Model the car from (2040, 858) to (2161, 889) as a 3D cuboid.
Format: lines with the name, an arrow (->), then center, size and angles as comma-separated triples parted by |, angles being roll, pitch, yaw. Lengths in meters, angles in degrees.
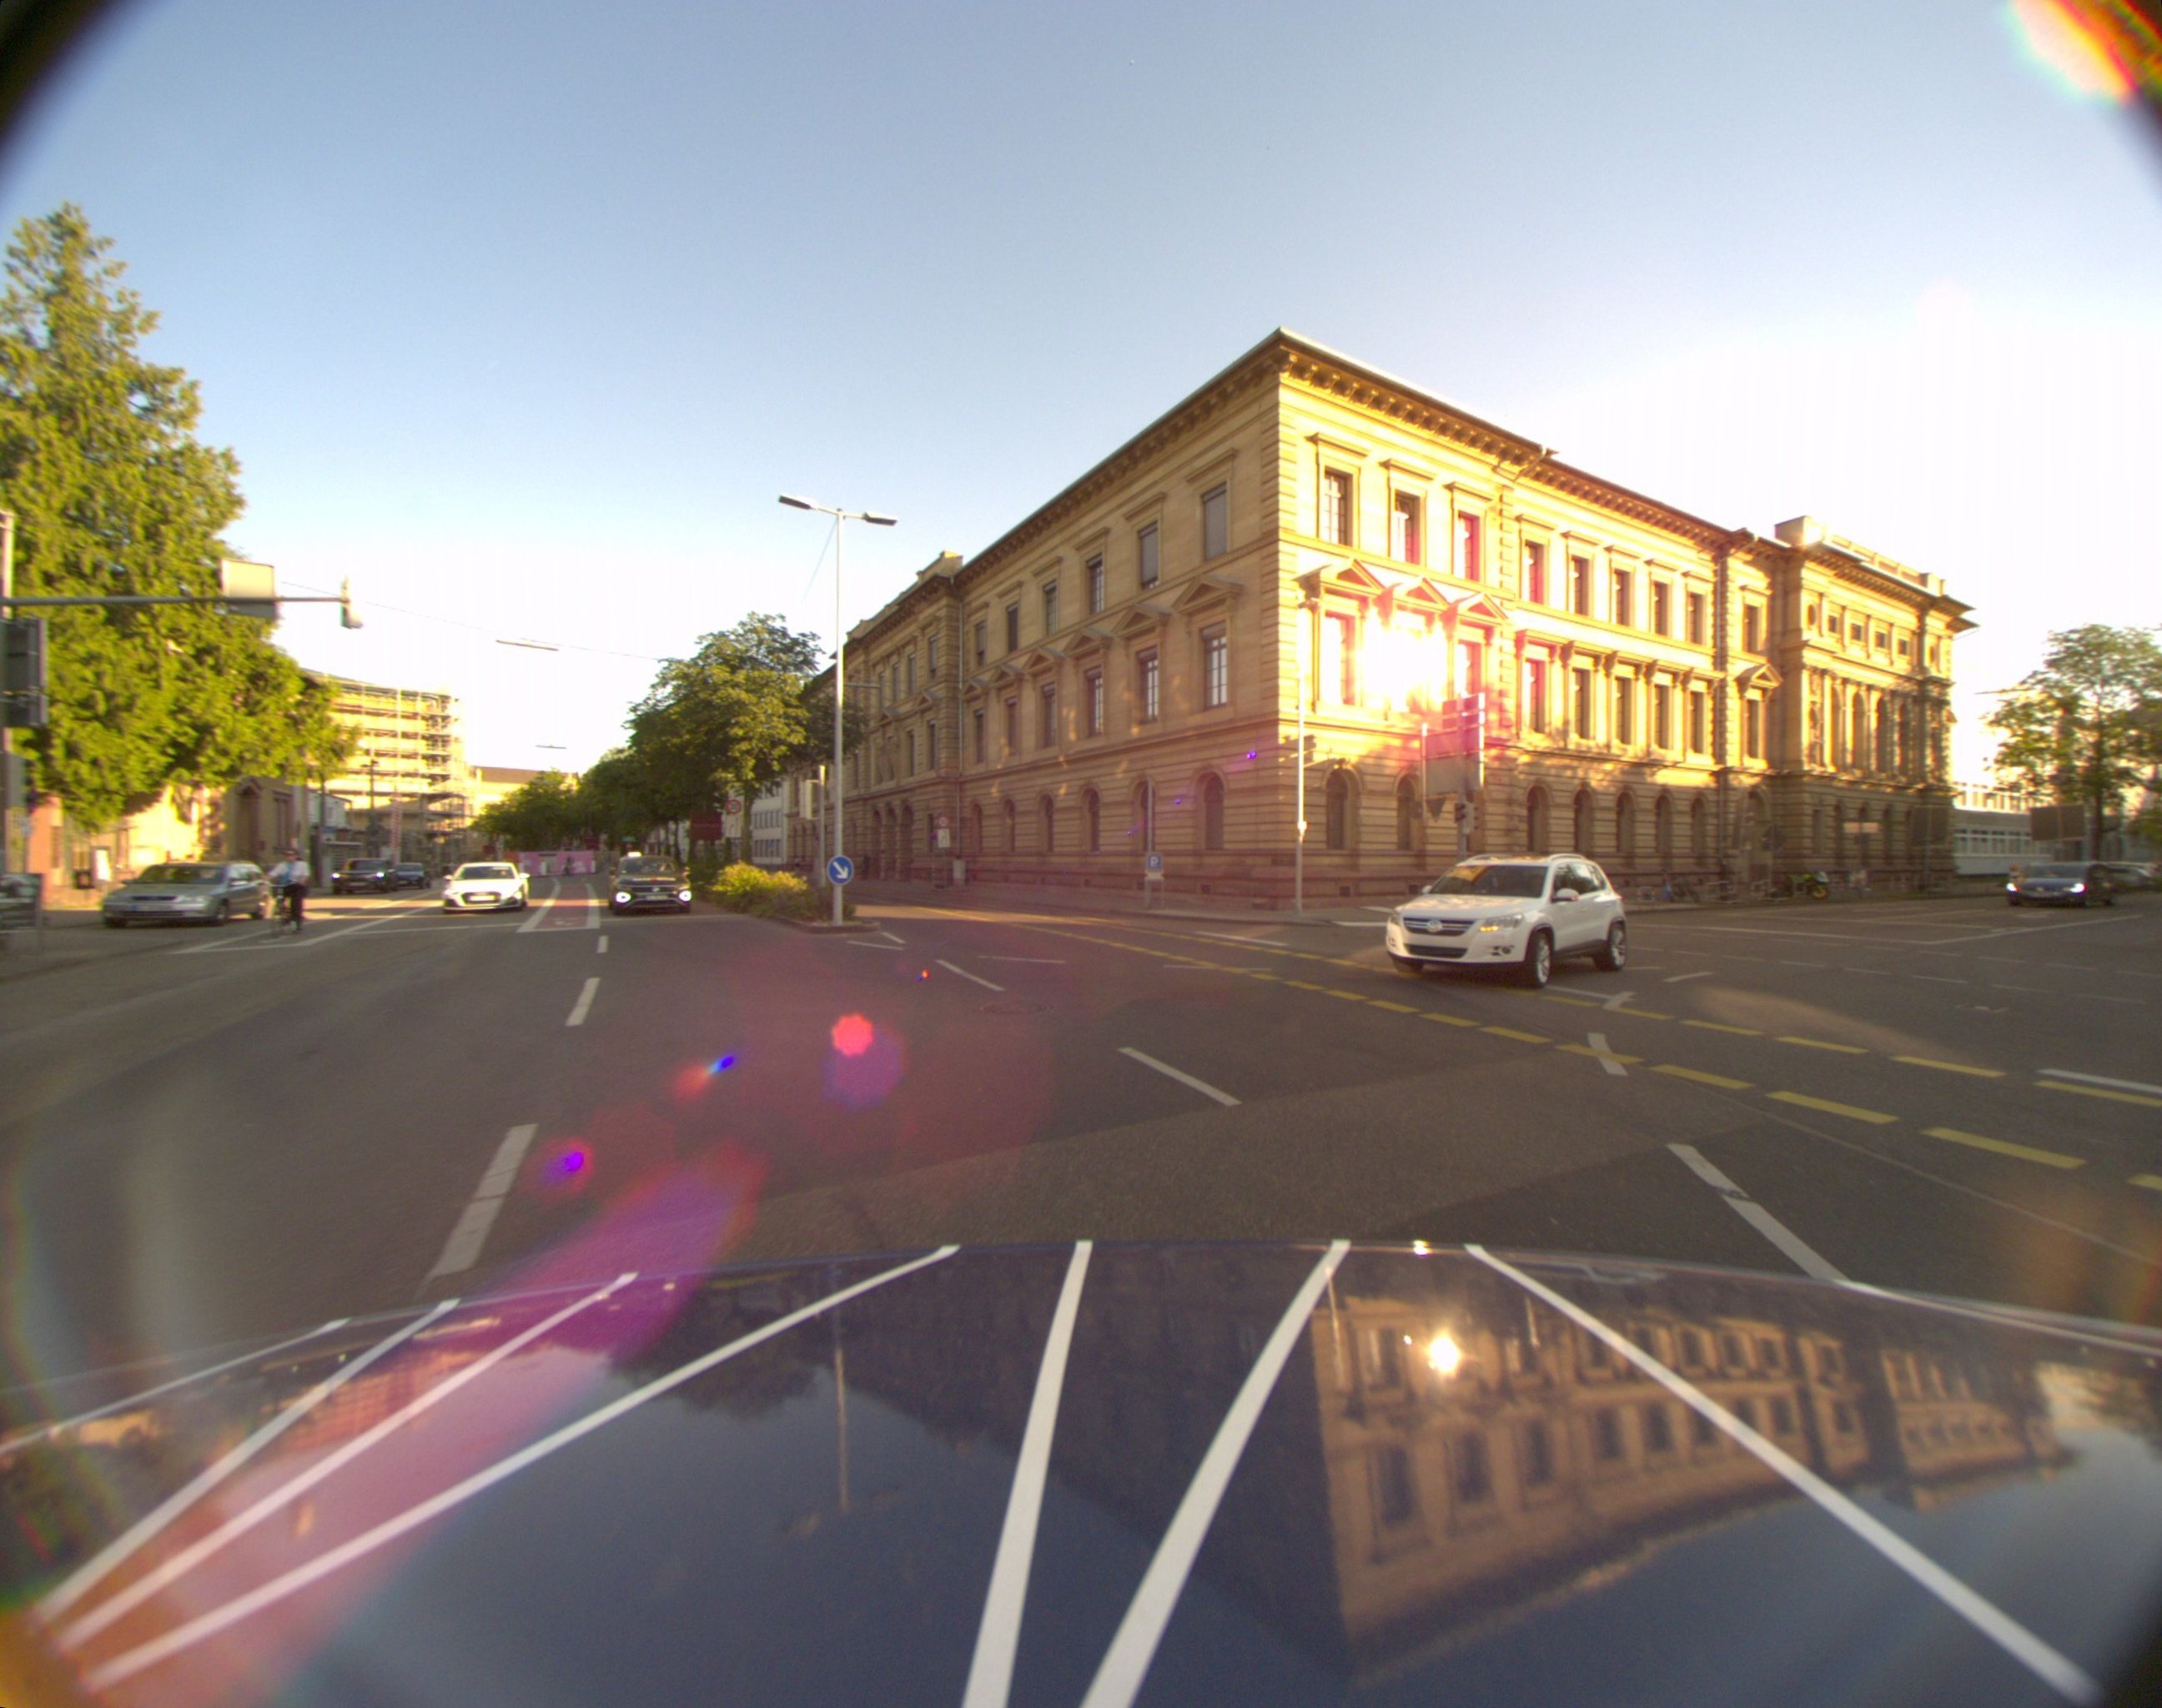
car -> 65.321, 1.204, 48.767 | 2.058, 1.633, 4.359 | 0, 3, -30

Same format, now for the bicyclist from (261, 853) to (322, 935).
bicyclist -> -16.218, 0.808, 15.620 | 0.668, 1.635, 0.519 | -2, 2, -26

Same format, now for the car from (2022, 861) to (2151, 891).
car -> 59.823, 1.266, 45.304 | 1.675, 1.487, 4.359 | 0, 3, -28

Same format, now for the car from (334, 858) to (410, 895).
car -> -31.720, 0.962, 34.120 | 1.838, 1.483, 4.065 | -1, 1, -34

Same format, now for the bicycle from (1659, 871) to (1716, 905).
bicycle -> 22.056, 1.227, 27.632 | 1.947, 1.128, 0.827 | 0, 3, -27

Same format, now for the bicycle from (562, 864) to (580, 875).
bicycle -> -39.493, 1.205, 58.886 | 0.590, 0.835, 1.745 | 0, 0, -13

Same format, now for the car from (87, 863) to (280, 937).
car -> -20.702, 0.966, 17.768 | 1.718, 1.436, 4.188 | 0, 0, -32

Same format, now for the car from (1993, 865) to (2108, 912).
car -> 34.796, 1.180, 27.261 | 4.006, 1.546, 1.948 | 0, 0, -29

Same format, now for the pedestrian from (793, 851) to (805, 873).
pedestrian -> -24.526, 0.696, 66.105 | 0.776, 1.842, 0.810 | 0, 1, -33

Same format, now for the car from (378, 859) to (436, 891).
car -> -34.620, 1.054, 39.143 | 1.691, 1.483, 4.065 | -1, 1, -34

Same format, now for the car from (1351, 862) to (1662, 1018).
car -> 5.965, 0.967, 10.467 | 4.551, 1.667, 1.953 | 0, 1, -35

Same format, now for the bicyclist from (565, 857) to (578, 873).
bicyclist -> -39.477, 0.860, 58.873 | 0.590, 1.216, 0.797 | 0, 1, -13

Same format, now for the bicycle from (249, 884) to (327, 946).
bicycle -> -16.114, 1.202, 15.478 | 0.496, 1.094, 1.664 | -2, 2, -26

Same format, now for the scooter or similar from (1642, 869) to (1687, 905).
scooter or similar -> 20.743, 1.173, 27.049 | 0.584, 1.189, 1.132 | 0, 3, -9

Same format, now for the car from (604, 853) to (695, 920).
car -> -11.884, 0.800, 20.823 | 1.838, 1.603, 4.065 | -1, 1, -34

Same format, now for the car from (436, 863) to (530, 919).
car -> -17.308, 0.991, 22.171 | 1.838, 1.383, 4.011 | -1, 1, -34

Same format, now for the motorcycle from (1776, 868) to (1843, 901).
motorcycle -> 29.925, 1.240, 31.270 | 0.709, 1.208, 2.104 | 1, 2, 2

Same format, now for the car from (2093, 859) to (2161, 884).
car -> 75.176, 1.266, 53.533 | 1.736, 1.615, 4.359 | 0, 2, -30
